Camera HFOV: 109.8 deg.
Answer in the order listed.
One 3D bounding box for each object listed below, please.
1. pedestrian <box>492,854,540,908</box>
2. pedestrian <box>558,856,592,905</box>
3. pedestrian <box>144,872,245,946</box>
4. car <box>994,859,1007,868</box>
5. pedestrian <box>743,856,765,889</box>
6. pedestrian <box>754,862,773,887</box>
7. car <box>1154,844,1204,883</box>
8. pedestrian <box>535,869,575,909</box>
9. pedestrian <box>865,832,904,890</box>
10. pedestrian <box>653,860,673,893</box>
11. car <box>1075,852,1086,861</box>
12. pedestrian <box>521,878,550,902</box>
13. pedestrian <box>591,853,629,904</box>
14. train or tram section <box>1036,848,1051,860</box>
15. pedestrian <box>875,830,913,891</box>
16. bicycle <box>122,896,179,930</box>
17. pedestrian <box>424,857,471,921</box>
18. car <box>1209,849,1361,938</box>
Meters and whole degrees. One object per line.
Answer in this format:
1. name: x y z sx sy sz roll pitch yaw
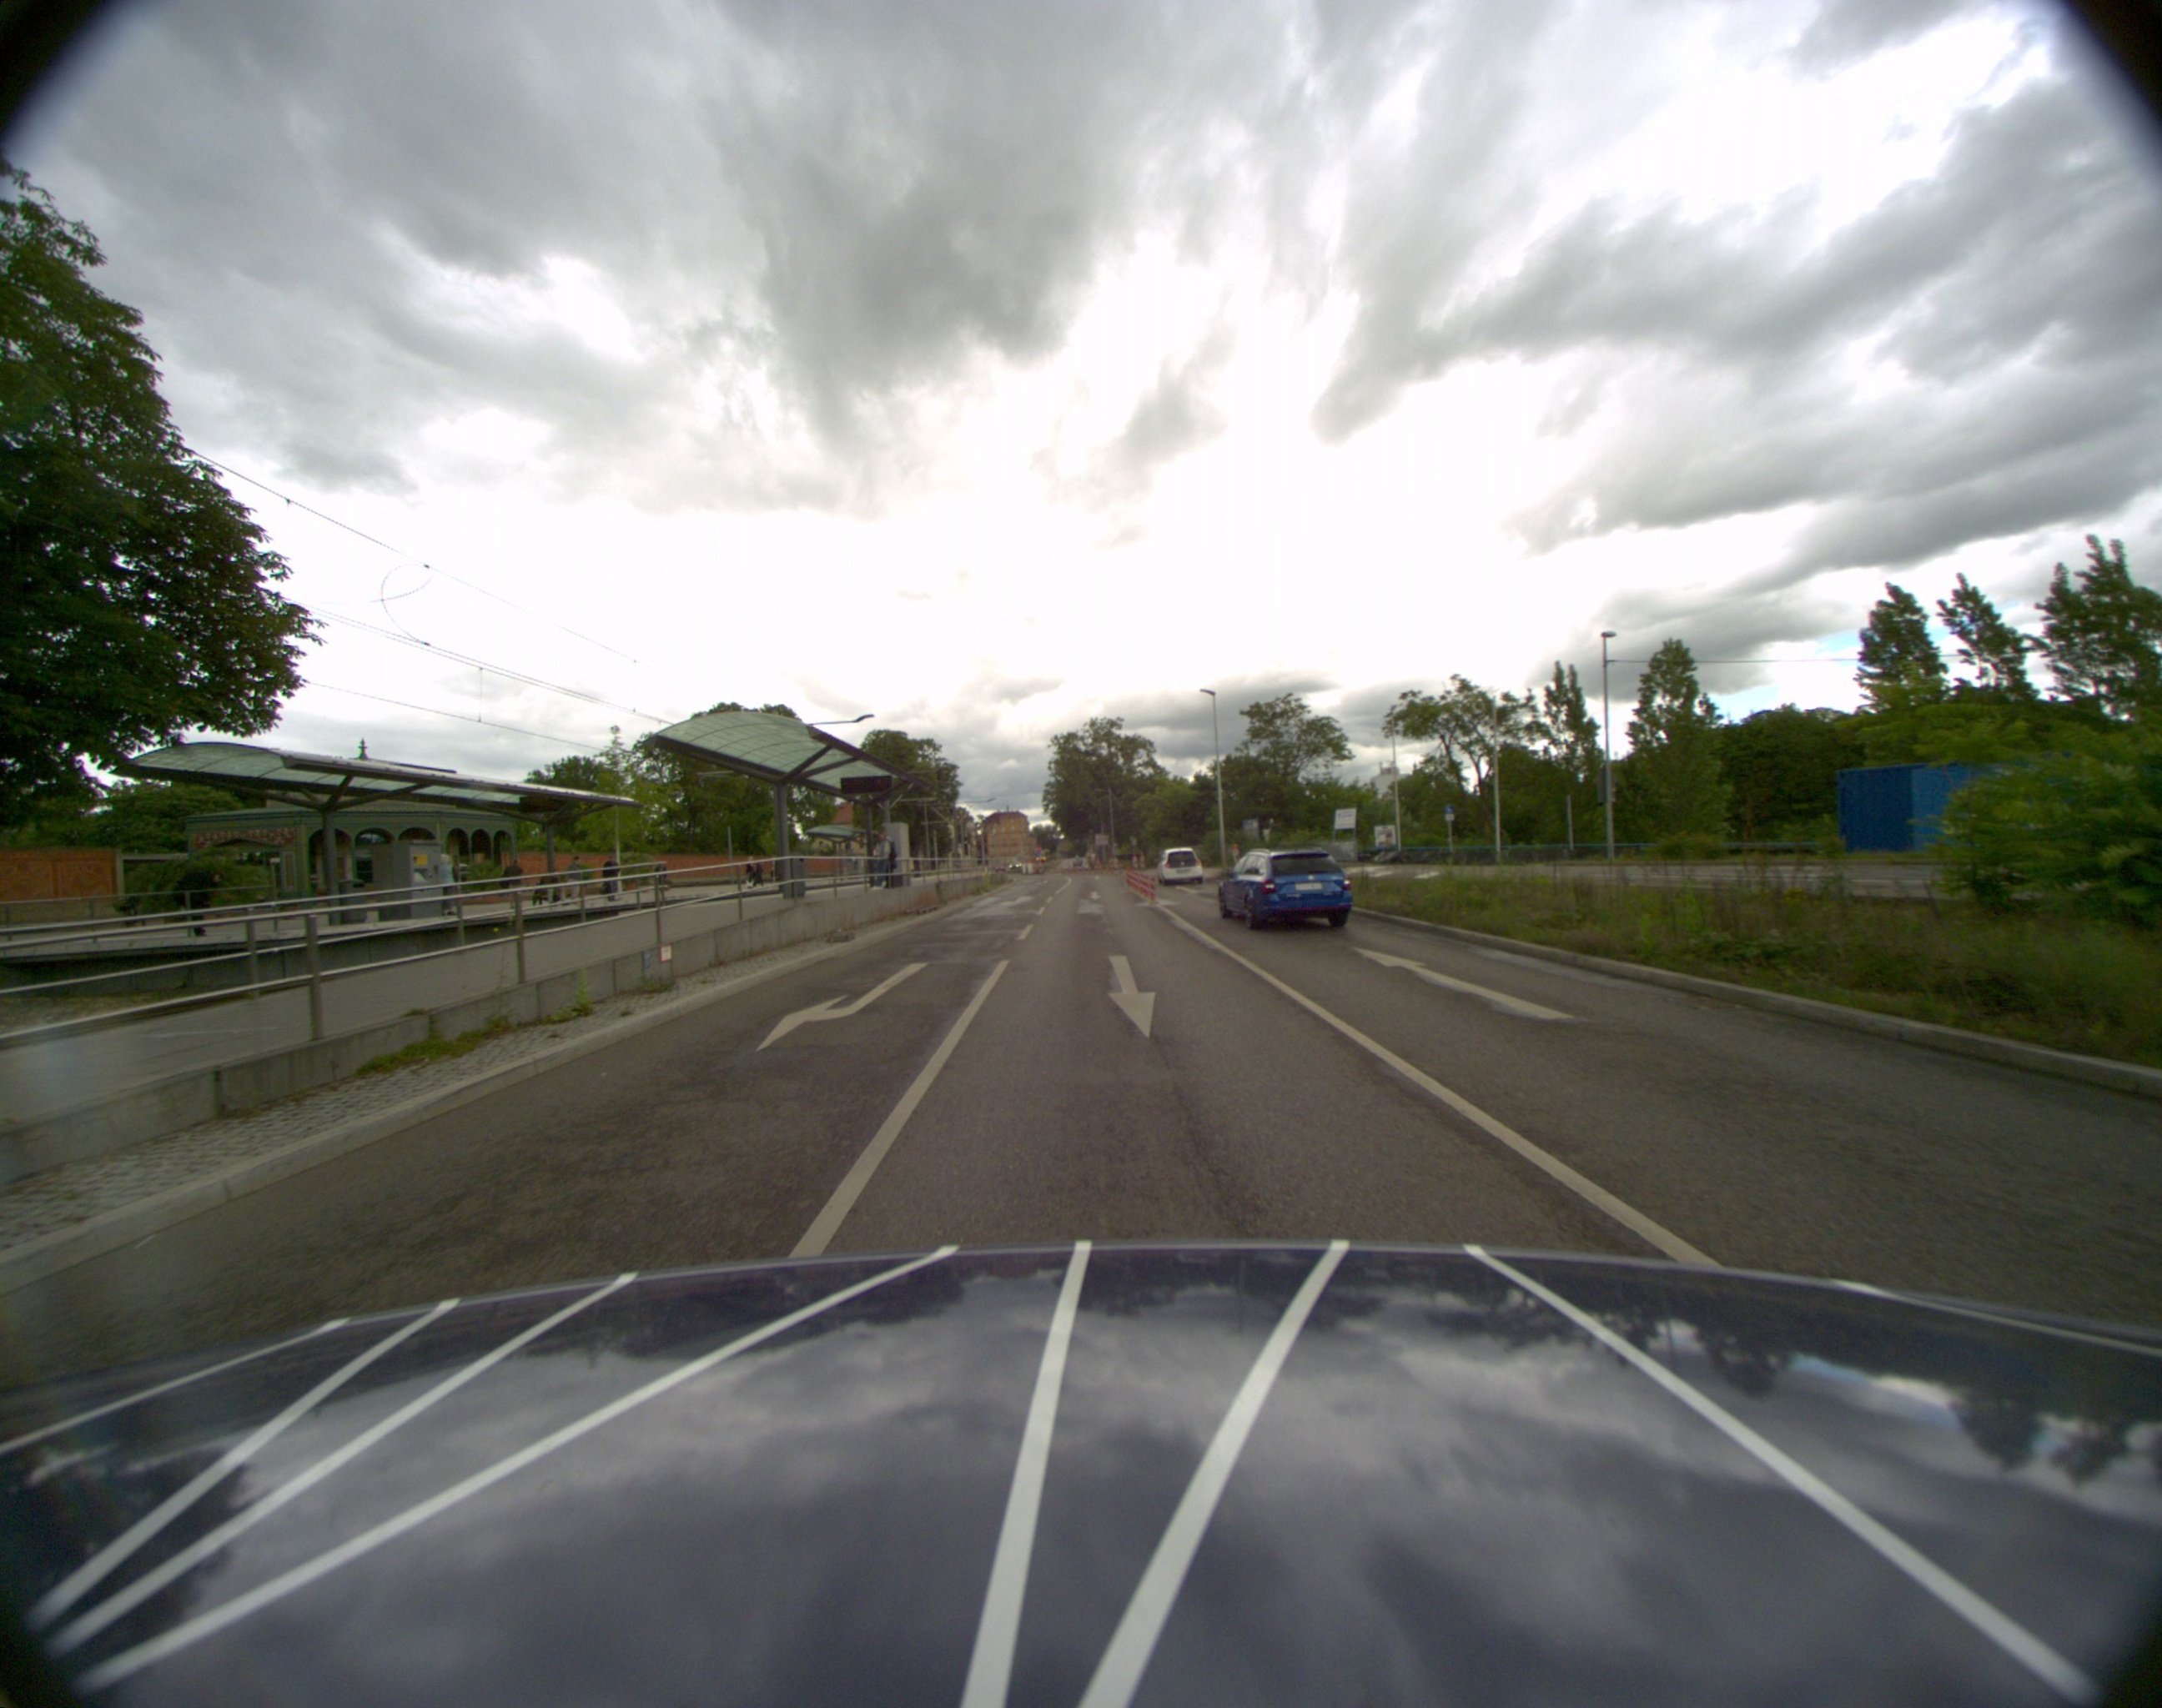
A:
1. pedestrian: -18.440 0.883 24.836 0.863 1.667 0.761 -6 1 -10
2. pedestrian: -17.175 0.887 25.816 0.525 1.611 0.675 -6 1 2
3. pedestrian: -17.218 1.042 14.782 0.675 1.316 0.968 -6 1 -1
4. car: -13.814 1.641 130.247 1.681 1.433 4.119 -6 0 -1
5. pedestrian: -17.404 0.965 40.415 0.634 1.677 0.866 -6 1 0
6. pedestrian: -20.805 1.336 49.804 0.741 1.591 0.772 -5 1 9
7. car: 4.237 0.379 33.398 1.595 1.508 4.084 -3 1 0
8. pedestrian: -16.646 1.107 24.070 0.659 1.184 0.675 -6 1 2
9. pedestrian: -5.529 0.193 21.450 0.752 1.544 0.775 -6 -1 2
10. pedestrian: -24.076 1.280 43.771 0.549 1.827 0.952 -6 1 -6
11. car: -0.176 0.537 158.925 1.869 1.772 4.746 -4 0 -4
12. pedestrian: -17.789 1.173 24.793 0.562 0.736 0.424 -5 1 9
13. pedestrian: -17.734 0.920 28.625 0.634 1.827 0.950 -6 1 2
14. train or tram section: -11.023 -0.109 223.672 3.739 3.346 17.551 -3 1 -1
15. pedestrian: -5.487 0.203 22.331 0.772 1.689 0.732 -6 -1 2
16. bicycle: -31.290 1.964 25.567 0.565 1.055 1.712 -6 1 -30
17. pedestrian: -17.081 0.927 20.503 0.545 1.667 0.675 -6 1 -3
18. car: 3.812 0.646 14.996 1.734 1.413 4.444 -2 1 0
